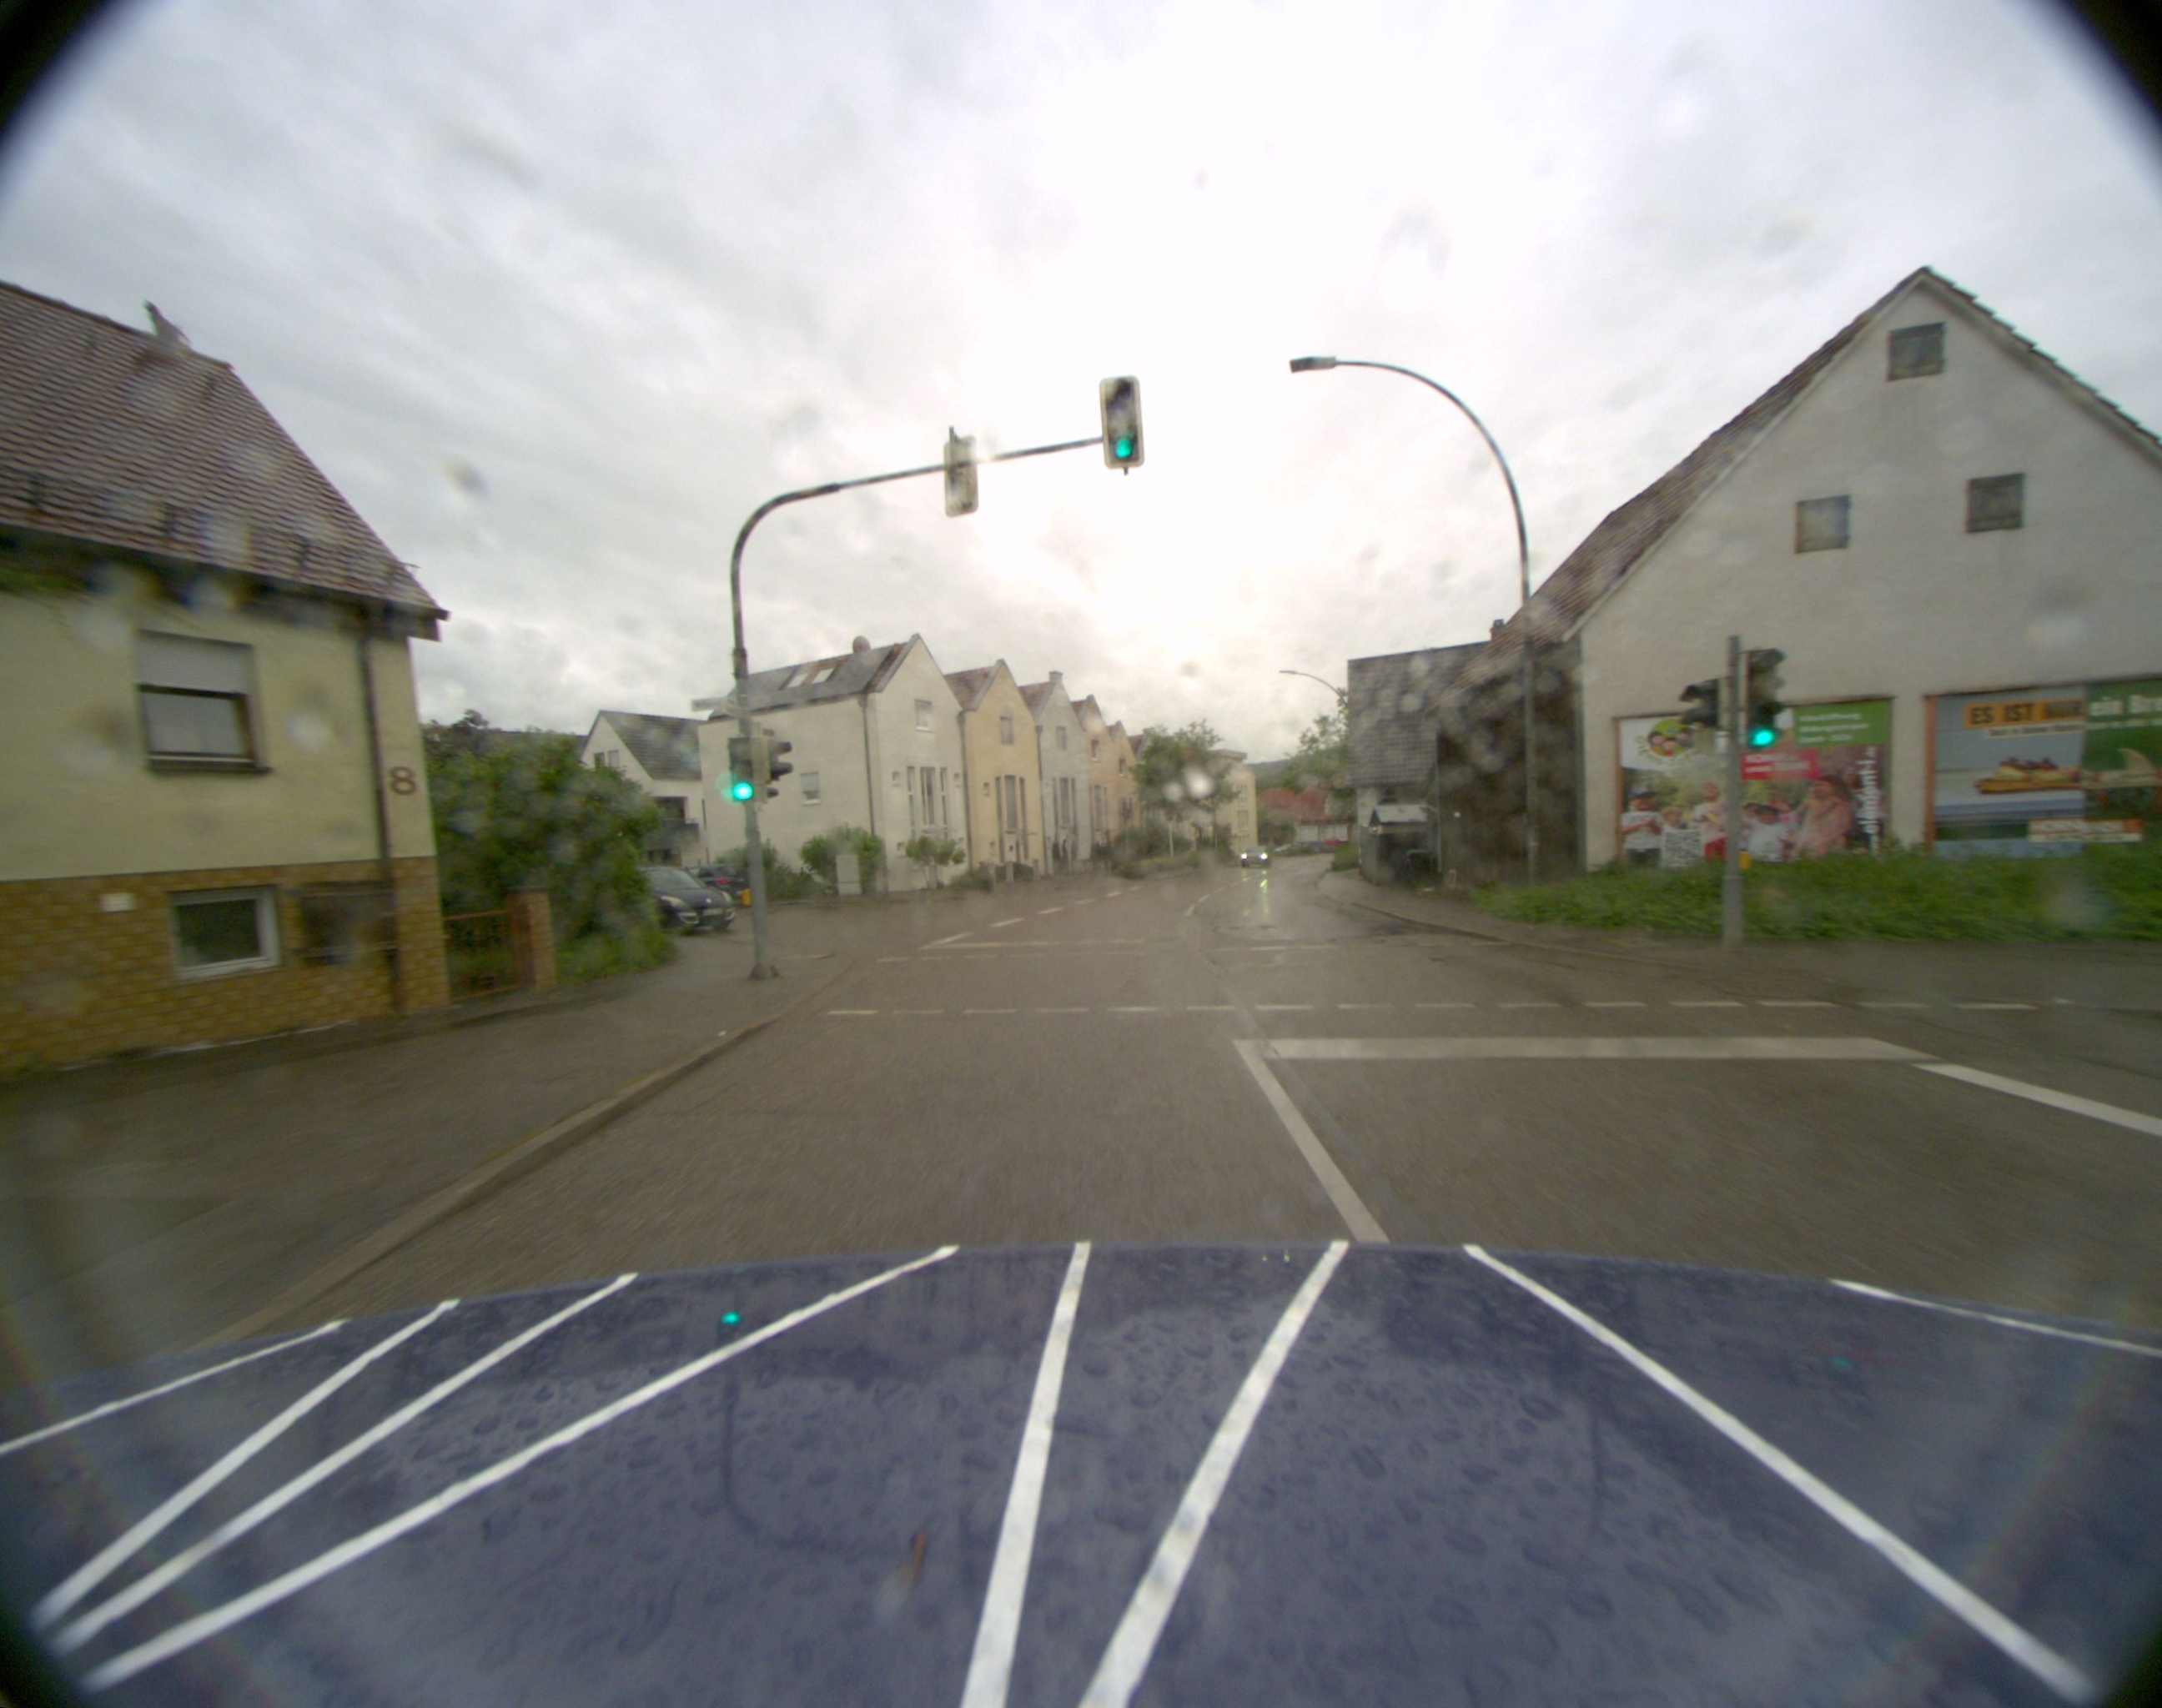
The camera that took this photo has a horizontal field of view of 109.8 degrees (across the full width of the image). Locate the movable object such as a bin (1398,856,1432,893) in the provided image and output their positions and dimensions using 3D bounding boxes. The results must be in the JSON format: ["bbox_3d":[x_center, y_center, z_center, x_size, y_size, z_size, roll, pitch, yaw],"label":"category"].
[{"bbox_3d":[10.171,0.615,23.184,0.837,1.052,0.612,-2,2,15],"label":"movable object such as a bin"}]

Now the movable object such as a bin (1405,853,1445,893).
[{"bbox_3d":[9.886,0.554,21.852,0.898,1.072,0.652,-3,1,15],"label":"movable object such as a bin"}]

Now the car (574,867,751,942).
[{"bbox_3d":[-10.307,1.176,18.654,4.134,1.576,1.867,-1,2,30],"label":"car"}]

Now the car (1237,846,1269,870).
[{"bbox_3d":[12.327,0.247,54.312,1.996,1.521,4.003,-2,1,15],"label":"car"}]

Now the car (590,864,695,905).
[{"bbox_3d":[-16.765,1.160,29.017,3.705,1.392,1.795,-2,2,30],"label":"car"}]

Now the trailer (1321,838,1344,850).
[{"bbox_3d":[35.814,-1.471,108.345,1.415,1.640,2.717,-3,1,-42],"label":"trailer"}]

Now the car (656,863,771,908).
[{"bbox_3d":[-12.989,1.112,26.819,3.725,1.398,1.807,-2,2,31],"label":"car"}]

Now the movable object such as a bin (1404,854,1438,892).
[{"bbox_3d":[10.059,0.555,22.490,0.818,1.055,0.597,-2,2,15],"label":"movable object such as a bin"}]
